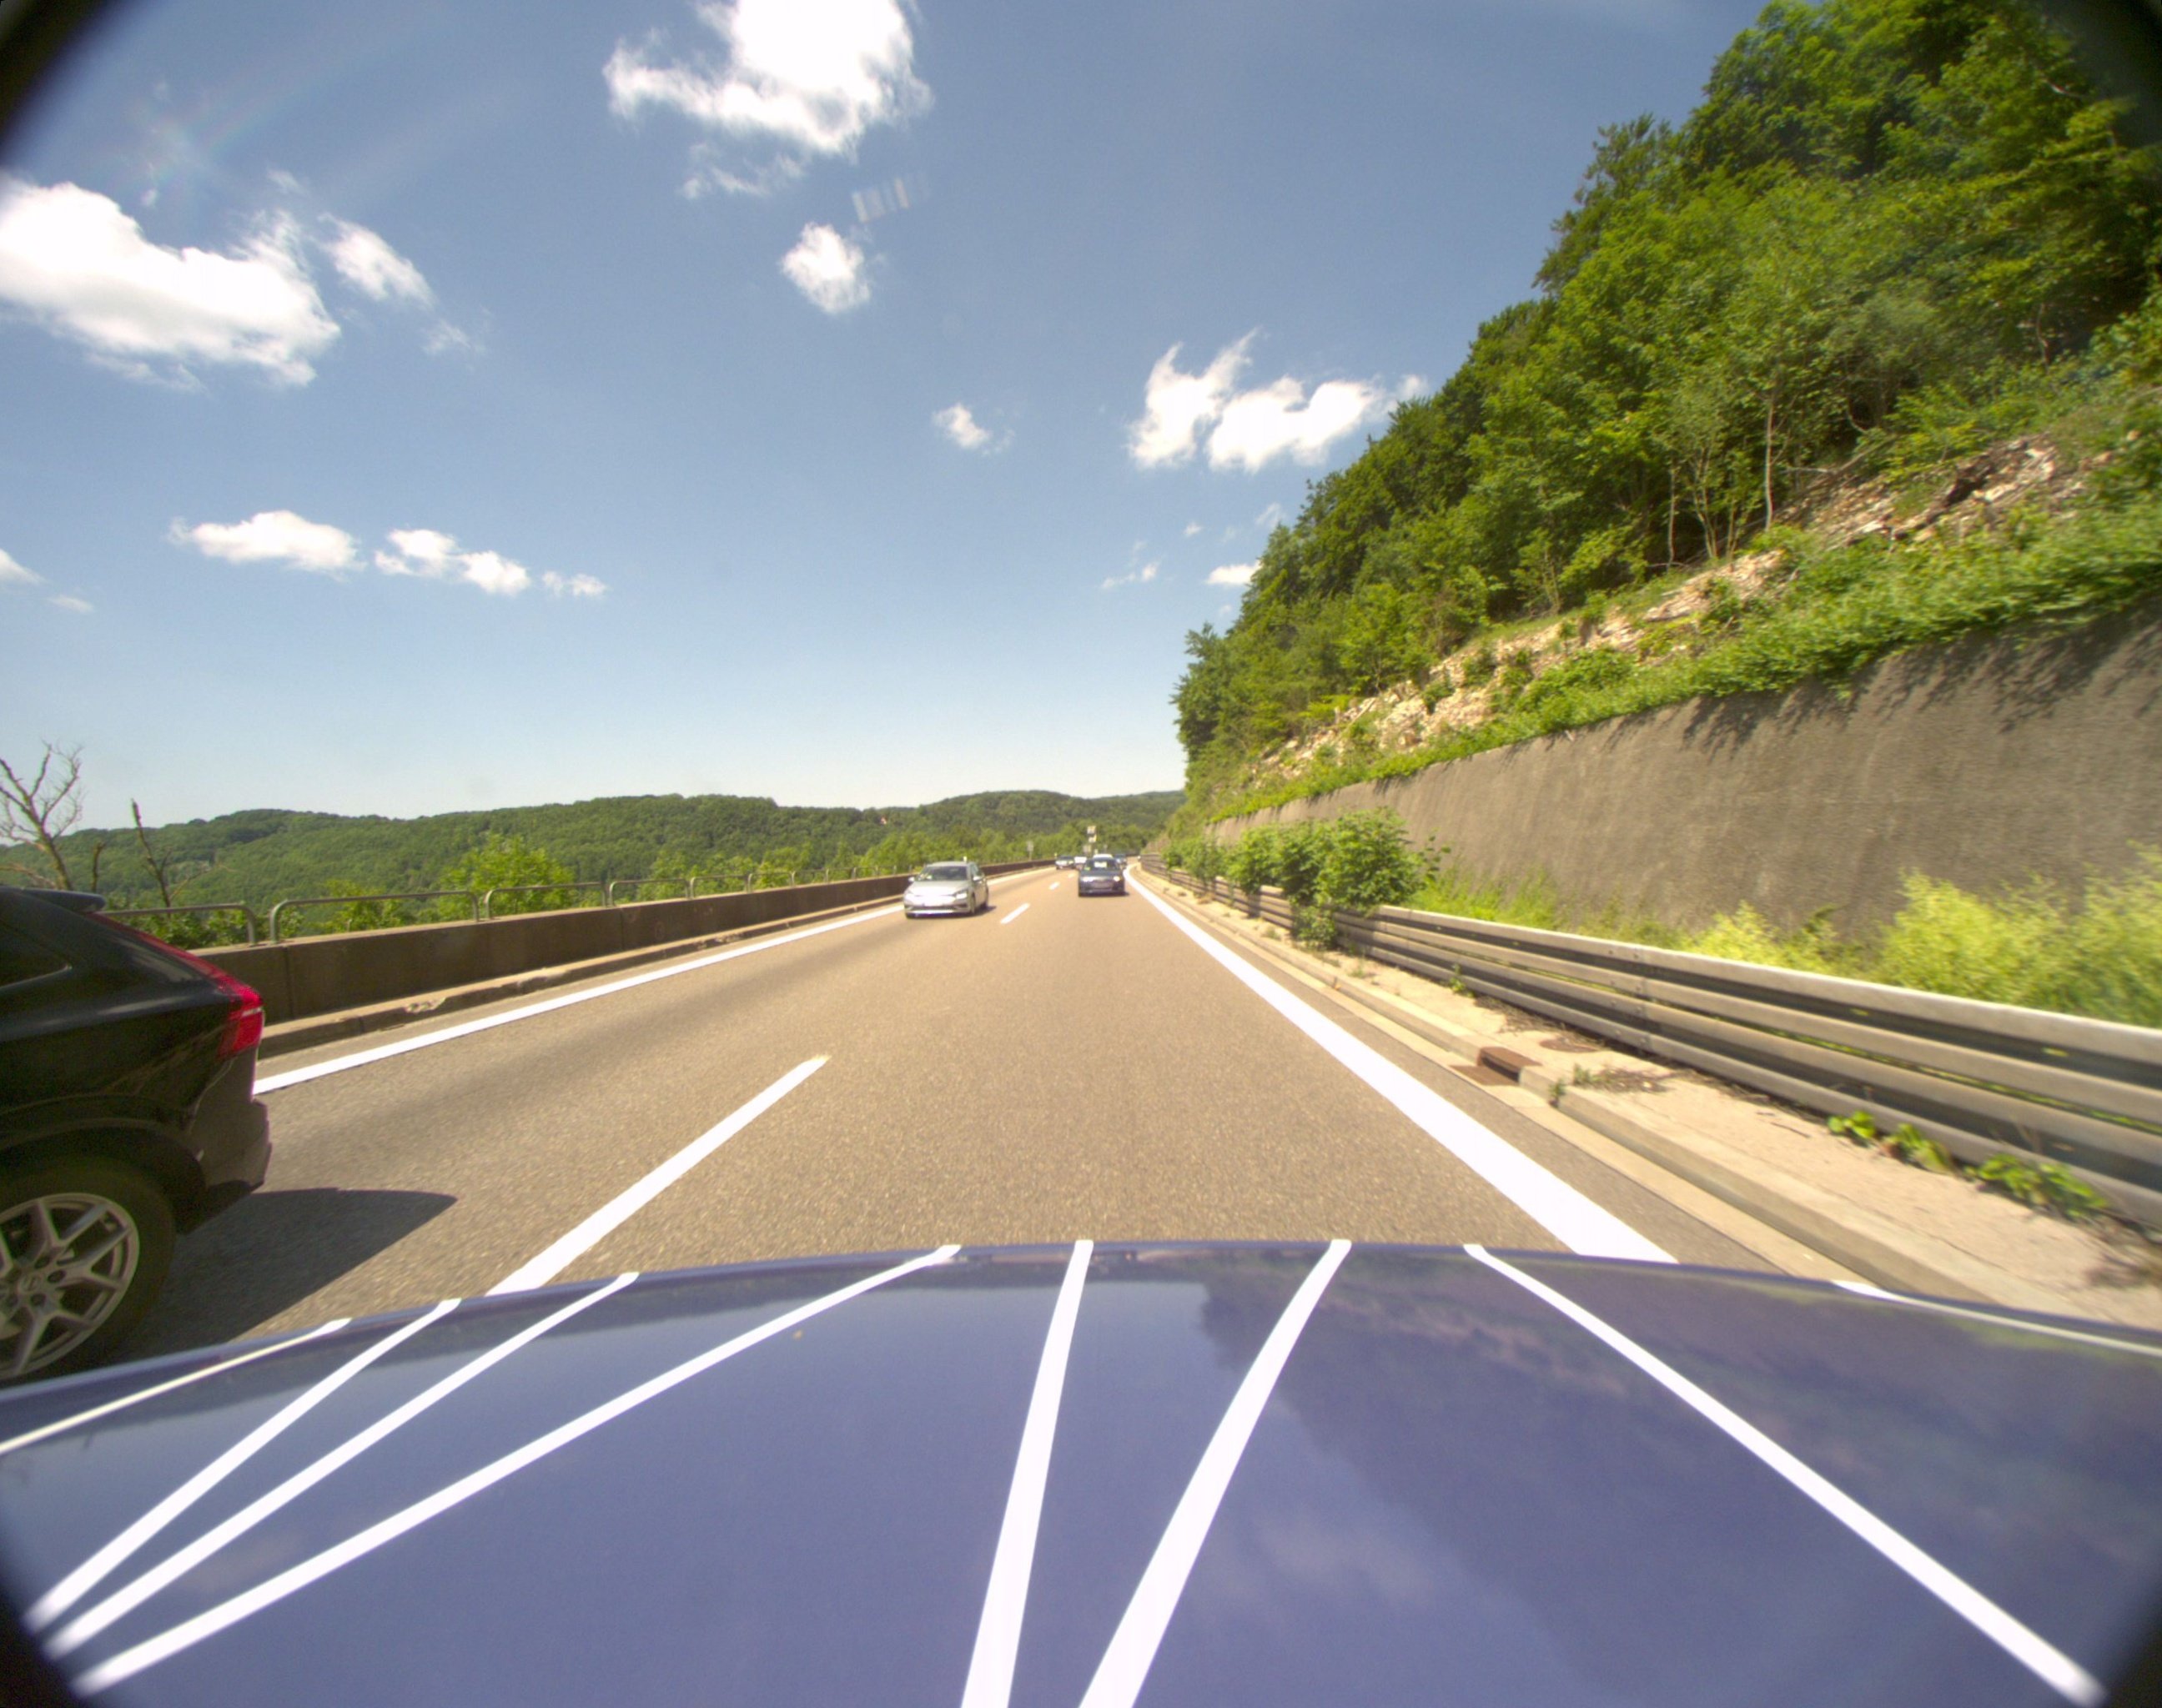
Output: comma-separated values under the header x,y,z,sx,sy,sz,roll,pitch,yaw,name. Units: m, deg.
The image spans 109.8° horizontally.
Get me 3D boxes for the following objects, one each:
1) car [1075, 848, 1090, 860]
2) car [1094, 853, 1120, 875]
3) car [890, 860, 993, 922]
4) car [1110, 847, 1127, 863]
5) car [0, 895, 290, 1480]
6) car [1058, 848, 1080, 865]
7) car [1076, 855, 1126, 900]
x,y,z,sx,sy,sz,roll,pitch,yaw,name
0.202,-0.007,99.460,1.776,1.565,4.000,-2,0,1,car
1.862,0.668,53.103,1.703,1.432,4.044,0,1,3,car
-3.743,0.940,21.210,1.972,1.370,4.293,-2,1,1,car
4.724,0.094,95.851,1.998,2.002,4.001,-1,0,3,car
-4.018,1.011,0.605,1.839,1.624,4.662,-3,0,0,car
-1.188,0.227,77.840,1.875,1.565,4.001,-2,0,4,car
0.699,0.801,28.075,1.669,1.415,4.043,-2,1,1,car
